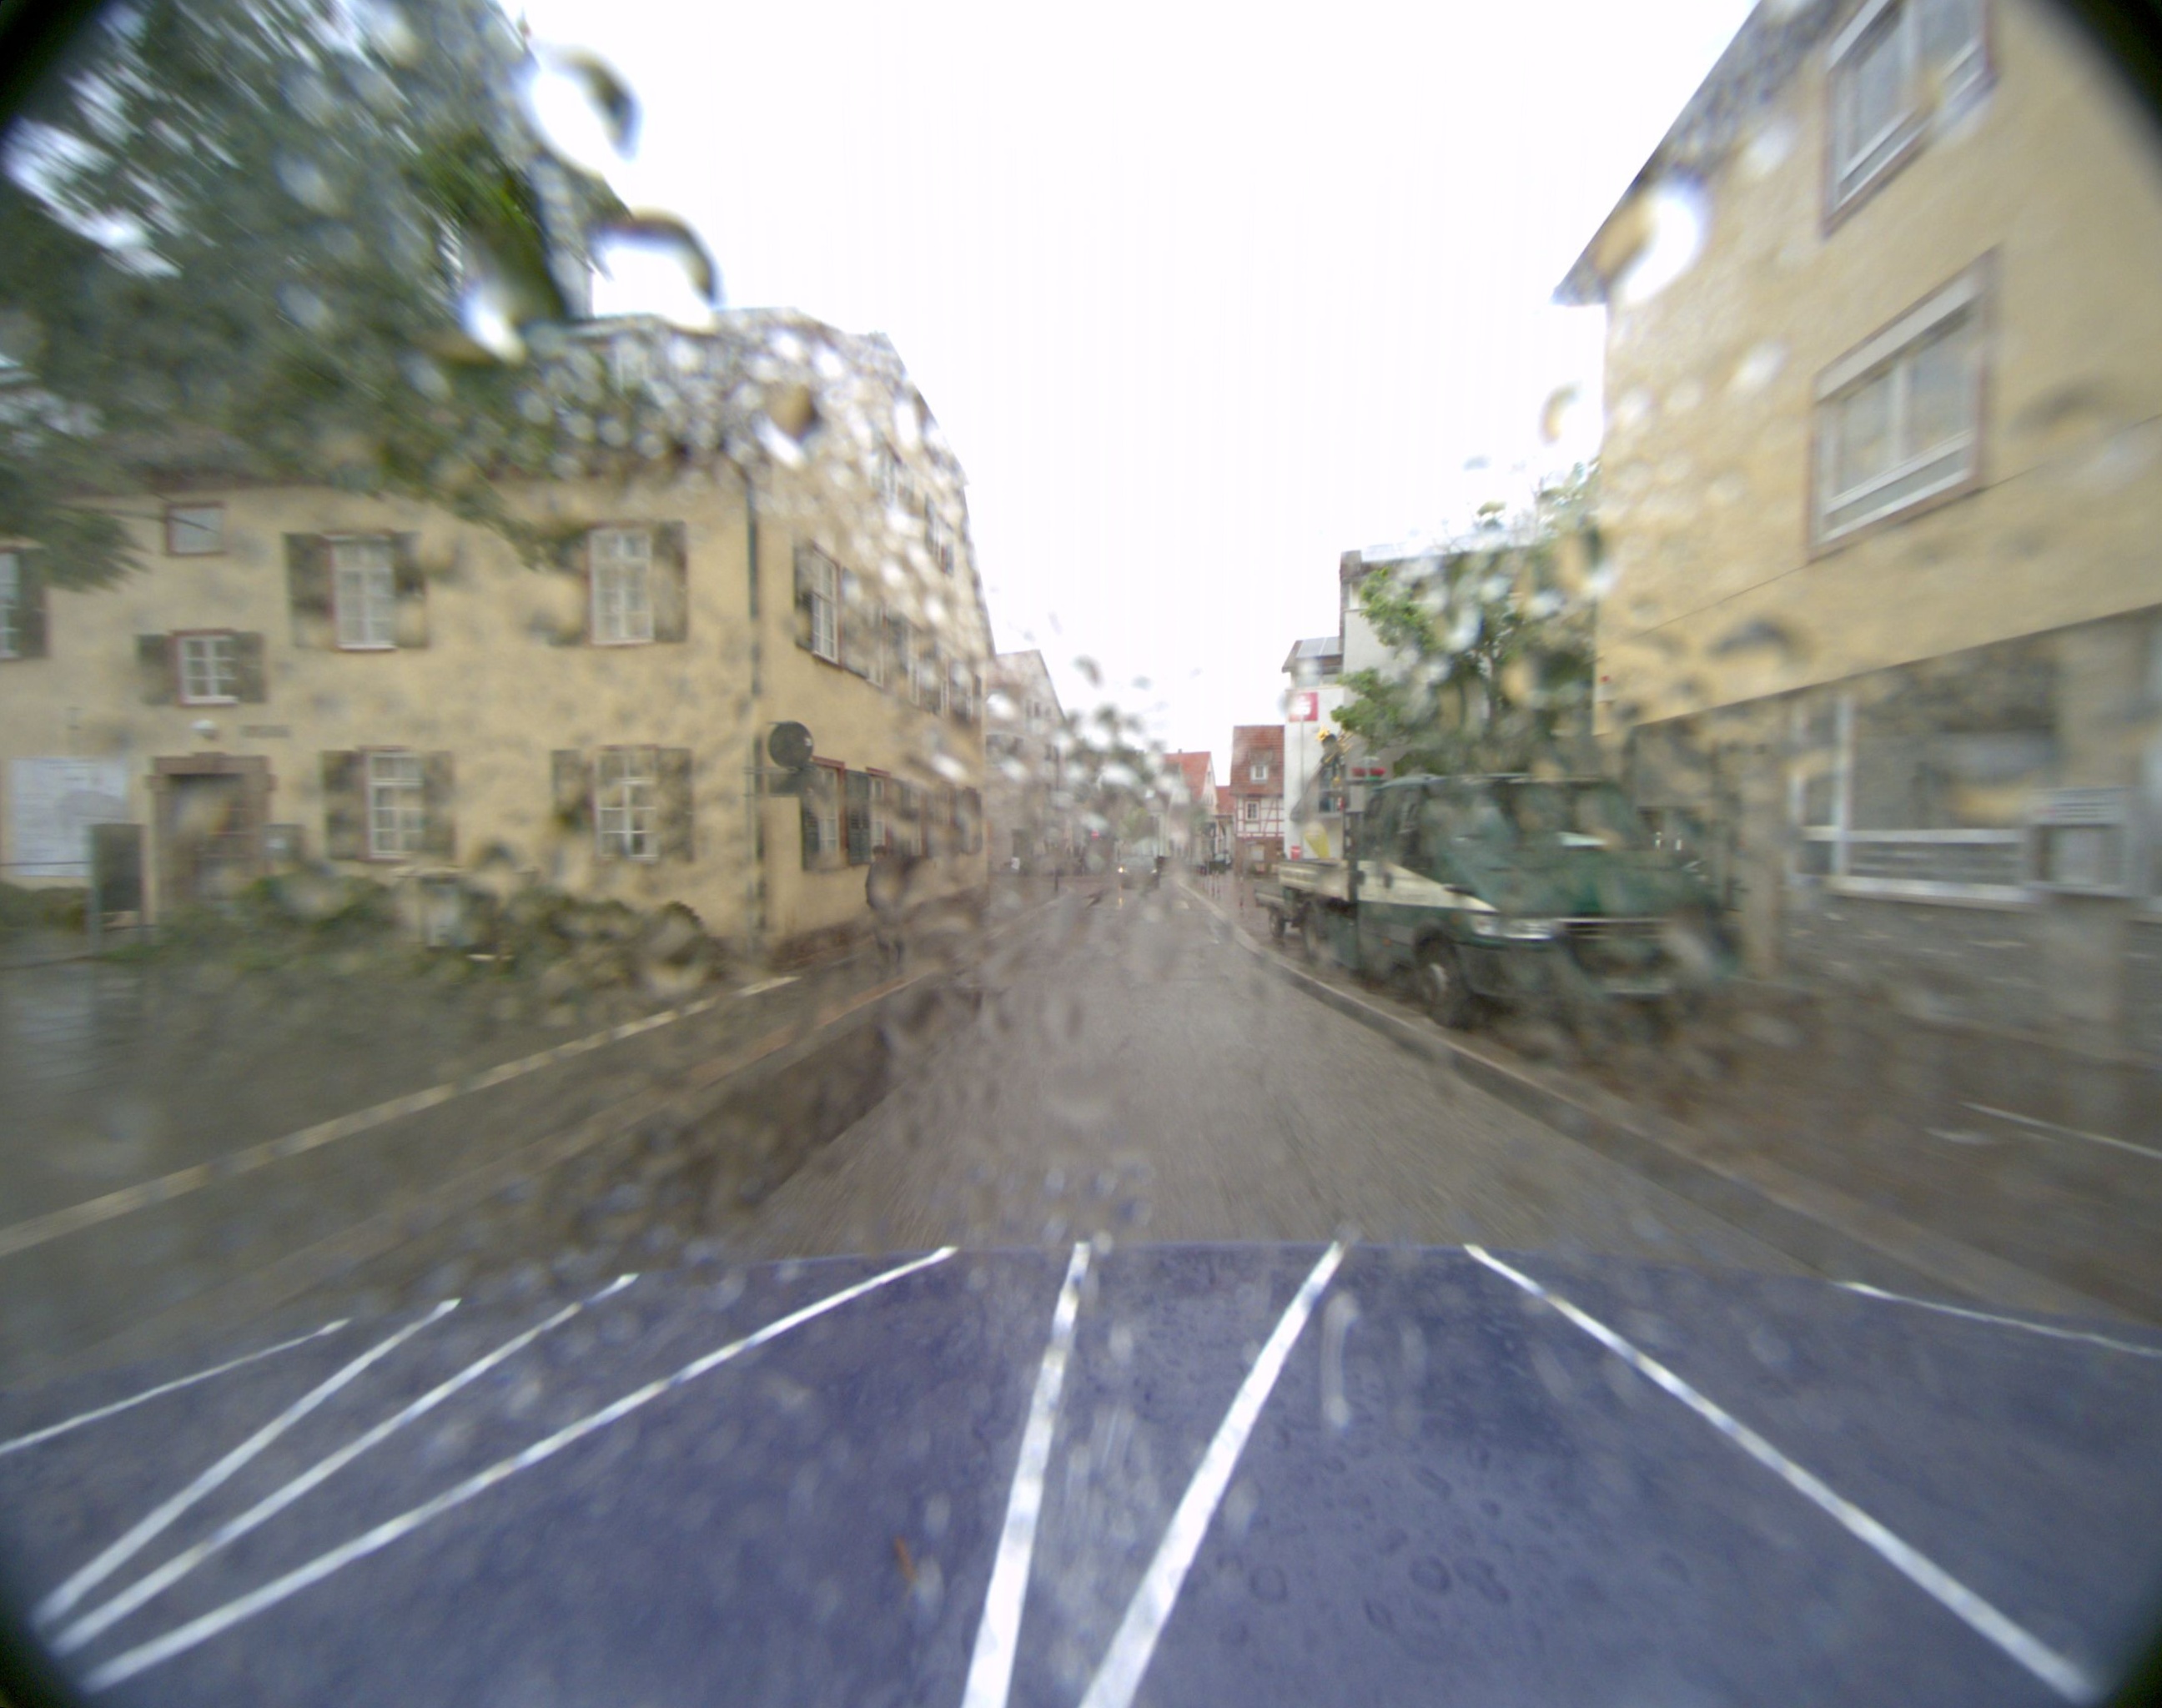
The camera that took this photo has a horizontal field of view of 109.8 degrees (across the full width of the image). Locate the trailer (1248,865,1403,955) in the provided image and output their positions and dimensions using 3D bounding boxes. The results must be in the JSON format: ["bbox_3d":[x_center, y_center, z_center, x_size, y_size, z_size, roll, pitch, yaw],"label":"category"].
[{"bbox_3d":[4.140,0.890,13.377,1.732,1.338,3.161,1,0,1],"label":"trailer"}]

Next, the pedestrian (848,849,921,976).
[{"bbox_3d":[-2.726,0.782,10.606,0.715,1.683,0.868,0,1,7],"label":"pedestrian"}]

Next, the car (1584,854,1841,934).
[{"bbox_3d":[14.003,0.820,17.164,3.991,1.555,1.968,1,1,17],"label":"car"}]

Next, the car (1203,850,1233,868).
[{"bbox_3d":[12.417,0.407,68.713,1.996,1.520,4.005,-2,0,19],"label":"car"}]

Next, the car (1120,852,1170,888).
[{"bbox_3d":[3.026,0.707,35.375,1.734,1.546,3.849,1,0,14],"label":"car"}]

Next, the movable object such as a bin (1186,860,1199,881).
[{"bbox_3d":[6.051,0.878,41.327,0.659,1.108,0.553,1,2,10],"label":"movable object such as a bin"}]

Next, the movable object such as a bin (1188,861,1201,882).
[{"bbox_3d":[6.018,0.904,40.367,0.659,1.090,0.613,1,2,8],"label":"movable object such as a bin"}]

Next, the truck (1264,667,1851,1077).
[{"bbox_3d":[4.061,0.142,8.517,2.479,2.778,6.600,1,0,1],"label":"truck"}]

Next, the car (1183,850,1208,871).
[{"bbox_3d":[8.547,0.435,56.749,1.693,1.477,4.001,0,1,7],"label":"car"}]

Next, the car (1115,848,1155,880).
[{"bbox_3d":[3.228,0.559,44.609,1.997,1.740,4.002,1,1,9],"label":"car"}]

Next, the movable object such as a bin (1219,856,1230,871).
[{"bbox_3d":[11.457,0.738,60.478,0.834,1.105,0.920,1,1,12],"label":"movable object such as a bin"}]
